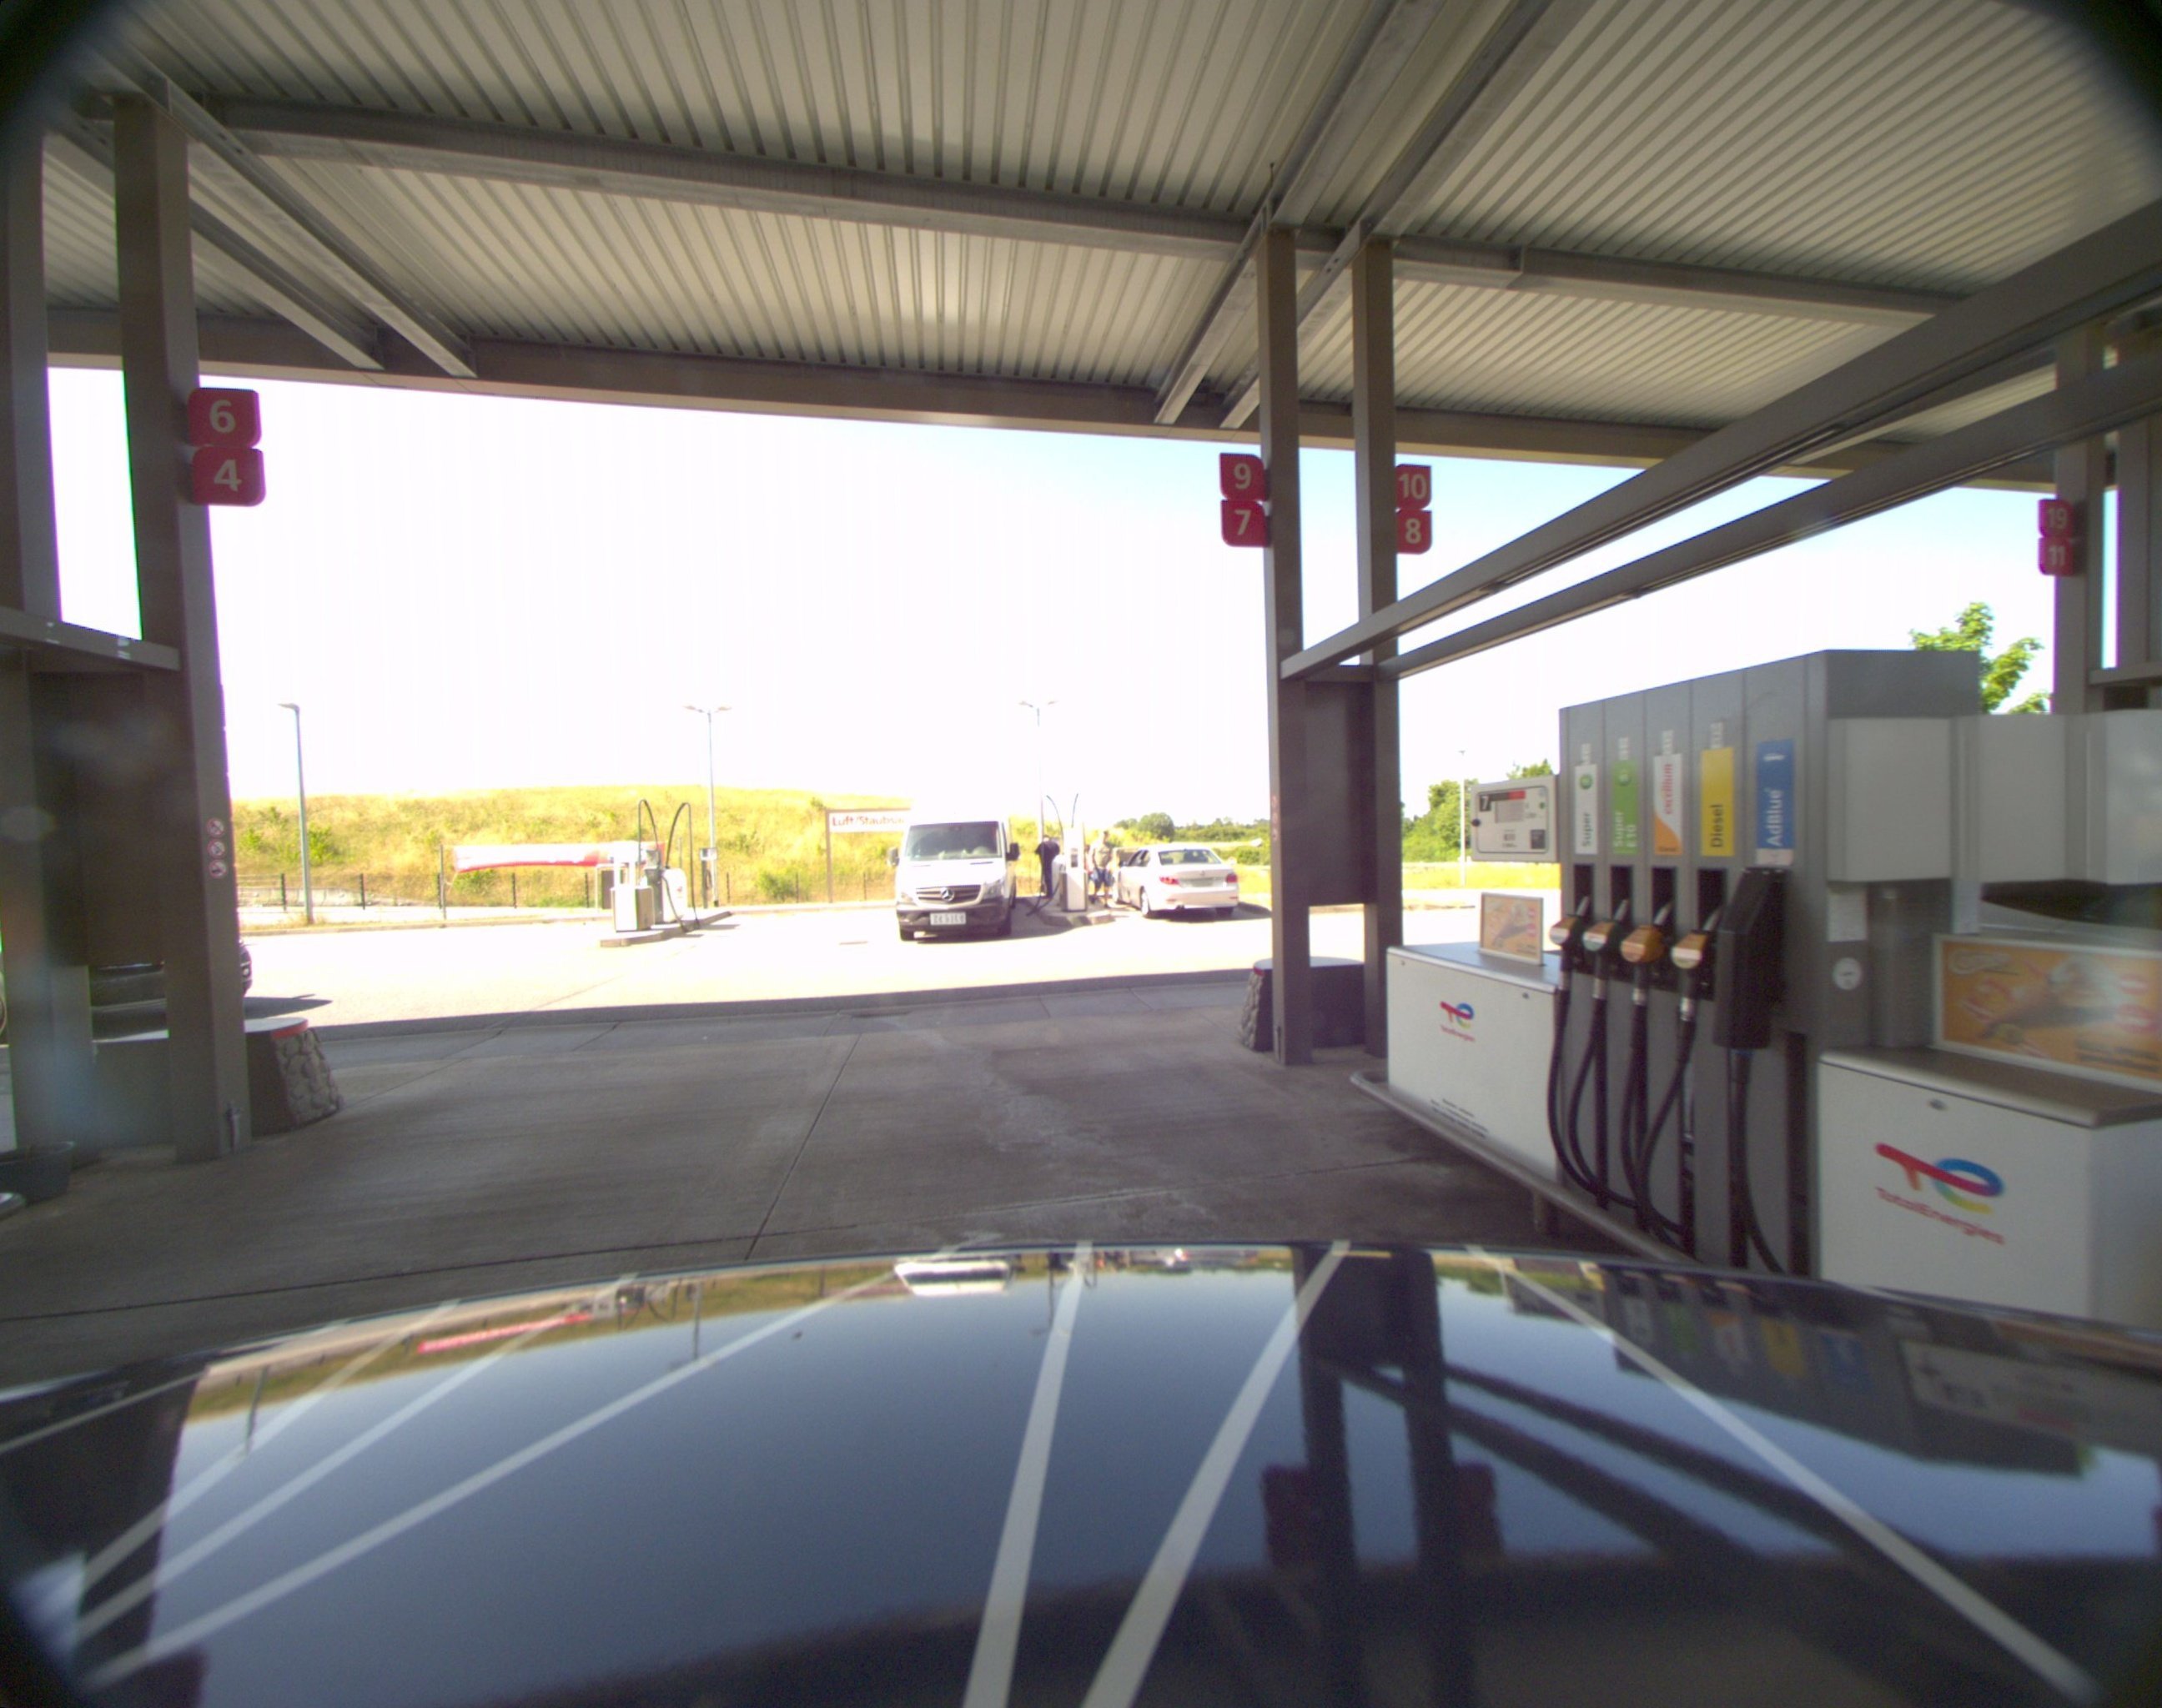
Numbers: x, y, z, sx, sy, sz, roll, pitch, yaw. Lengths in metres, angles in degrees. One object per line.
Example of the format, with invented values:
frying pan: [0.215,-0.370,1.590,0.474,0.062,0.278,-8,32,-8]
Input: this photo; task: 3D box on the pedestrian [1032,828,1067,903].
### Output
pedestrian: [-0.770,0.275,18.482,0.709,1.760,0.844,-2,1,-9]

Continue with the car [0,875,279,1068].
car: [-11.380,1.123,8.101,4.624,1.635,1.745,-1,1,13]

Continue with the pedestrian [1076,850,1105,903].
pedestrian: [0.244,0.571,19.204,0.577,1.299,0.669,-1,1,12]

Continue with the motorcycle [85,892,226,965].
motorcycle: [-17.872,1.386,14.772,1.047,1.100,2.409,-2,2,-34]

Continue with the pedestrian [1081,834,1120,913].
pedestrian: [0.438,0.423,17.398,0.709,1.739,0.844,-2,1,-7]

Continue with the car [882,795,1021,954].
car: [-2.378,0.160,15.911,1.999,2.557,7.025,-1,3,-3]

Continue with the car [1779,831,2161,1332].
car: [4.399,0.710,1.464,1.786,1.532,4.321,-2,1,-9]

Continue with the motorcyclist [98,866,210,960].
motorcyclist: [-17.834,1.094,14.658,1.036,1.678,1.096,-2,2,-34]

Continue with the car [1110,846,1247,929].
car: [1.926,0.592,16.402,1.793,1.420,4.317,-2,2,-9]
